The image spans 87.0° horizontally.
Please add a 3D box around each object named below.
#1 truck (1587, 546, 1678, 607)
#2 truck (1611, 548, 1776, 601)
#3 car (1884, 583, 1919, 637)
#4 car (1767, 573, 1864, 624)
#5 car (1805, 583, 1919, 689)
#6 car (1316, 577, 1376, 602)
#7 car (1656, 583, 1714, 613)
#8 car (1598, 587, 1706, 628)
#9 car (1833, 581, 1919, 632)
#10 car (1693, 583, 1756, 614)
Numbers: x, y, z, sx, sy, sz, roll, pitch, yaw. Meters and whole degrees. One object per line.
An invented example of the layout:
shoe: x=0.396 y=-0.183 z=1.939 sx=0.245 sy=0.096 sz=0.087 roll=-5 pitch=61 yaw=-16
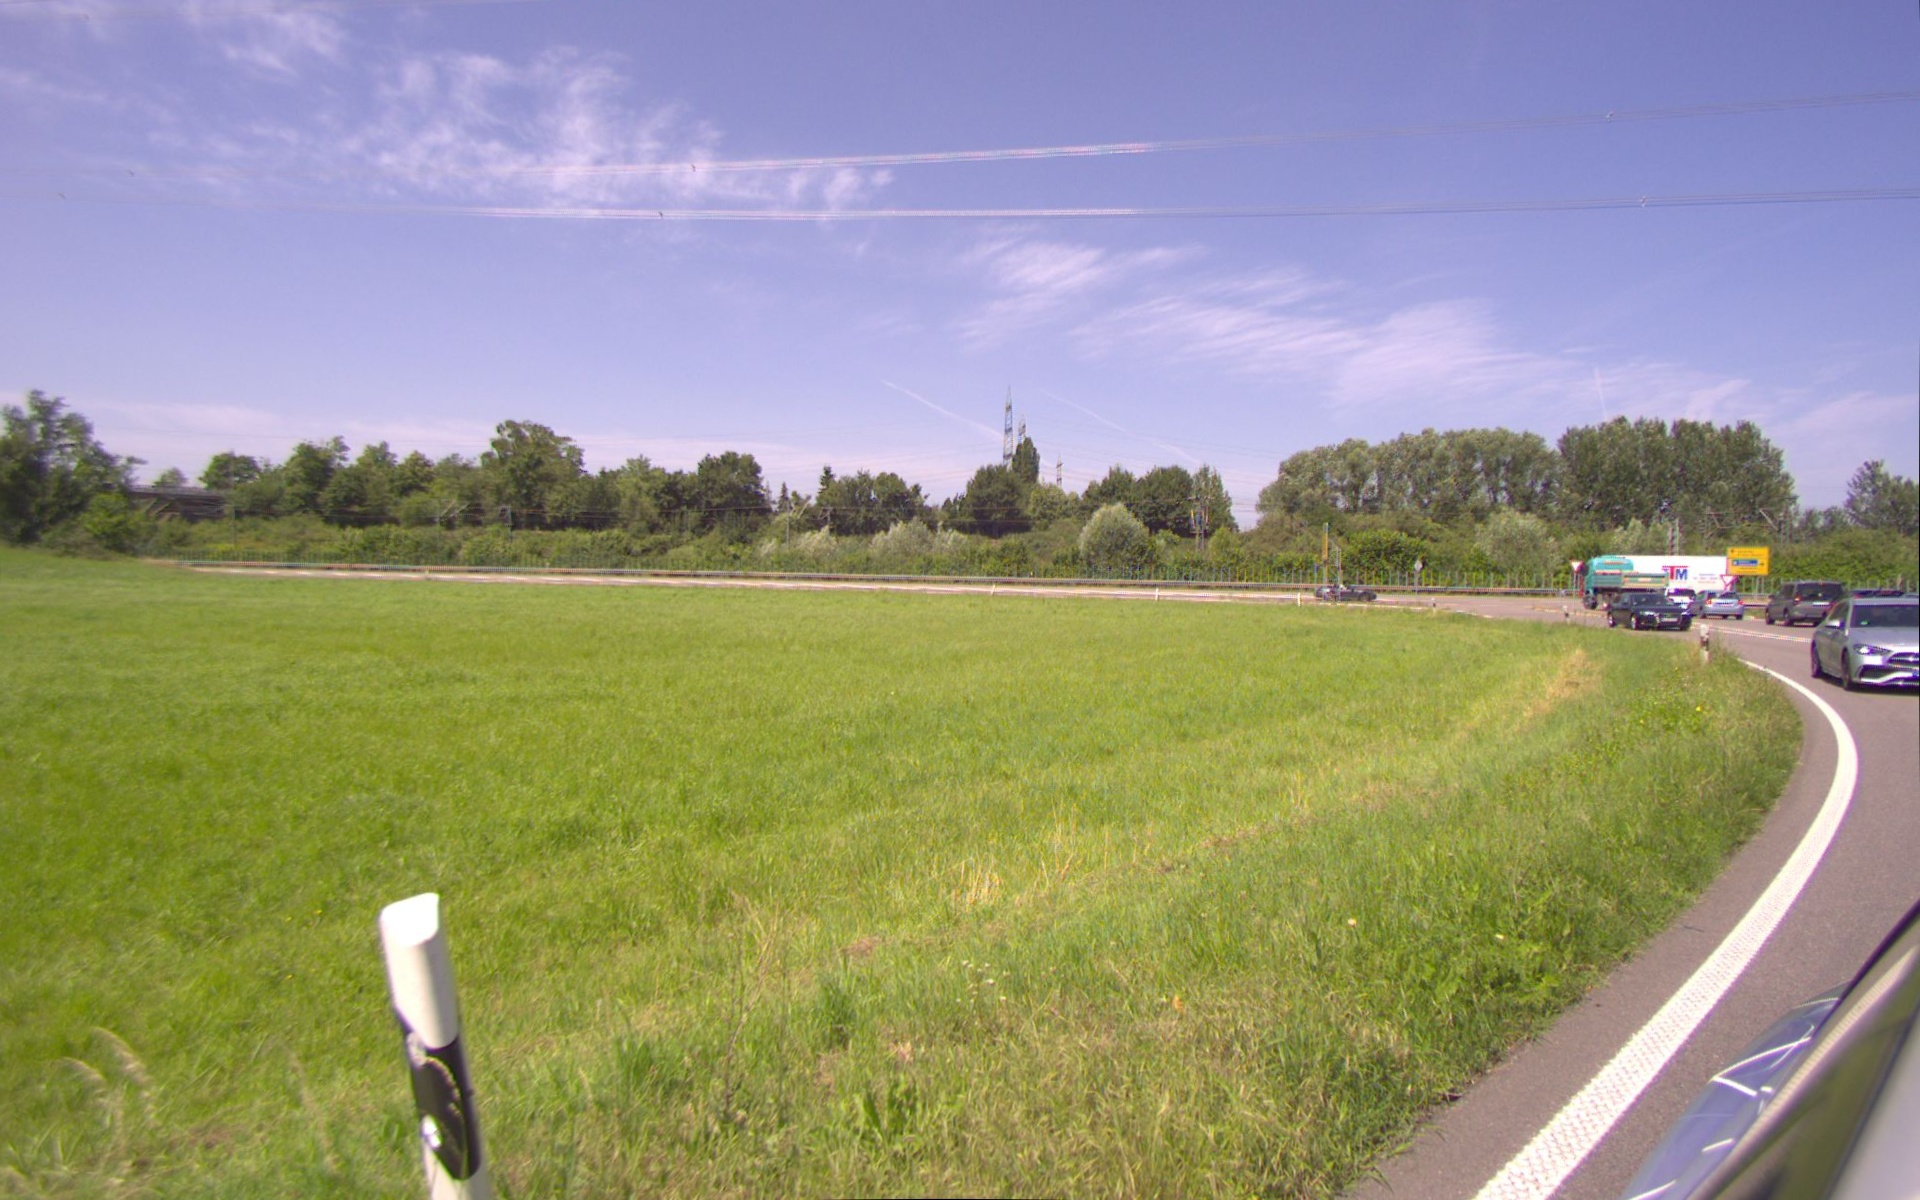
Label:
truck: x=42.164 y=-1.487 z=63.728 sx=2.574 sy=3.514 sz=7.571 roll=2 pitch=2 yaw=16
truck: x=53.406 y=-1.858 z=73.902 sx=9.406 sy=3.624 sz=2.717 roll=-1 pitch=1 yaw=12
car: x=28.455 y=0.295 z=28.986 sx=1.831 sy=1.478 sz=4.762 roll=1 pitch=2 yaw=29
car: x=34.330 y=-0.108 z=40.733 sx=1.914 sy=1.854 sz=4.399 roll=2 pitch=2 yaw=26
car: x=15.368 y=0.510 z=16.382 sx=1.810 sy=1.505 sz=4.107 roll=1 pitch=2 yaw=29
car: x=28.829 y=-0.815 z=75.684 sx=3.942 sy=1.745 sz=1.717 roll=2 pitch=2 yaw=15
car: x=40.281 y=-0.134 z=56.332 sx=1.758 sy=1.641 sz=4.296 roll=0 pitch=1 yaw=24
car: x=26.363 y=0.239 z=38.747 sx=1.796 sy=1.457 sz=4.138 roll=1 pitch=1 yaw=9
car: x=31.429 y=0.167 z=34.333 sx=1.789 sy=1.534 sz=4.349 roll=2 pitch=3 yaw=29
car: x=38.170 y=-0.105 z=50.631 sx=1.619 sy=1.477 sz=3.976 roll=1 pitch=1 yaw=24
